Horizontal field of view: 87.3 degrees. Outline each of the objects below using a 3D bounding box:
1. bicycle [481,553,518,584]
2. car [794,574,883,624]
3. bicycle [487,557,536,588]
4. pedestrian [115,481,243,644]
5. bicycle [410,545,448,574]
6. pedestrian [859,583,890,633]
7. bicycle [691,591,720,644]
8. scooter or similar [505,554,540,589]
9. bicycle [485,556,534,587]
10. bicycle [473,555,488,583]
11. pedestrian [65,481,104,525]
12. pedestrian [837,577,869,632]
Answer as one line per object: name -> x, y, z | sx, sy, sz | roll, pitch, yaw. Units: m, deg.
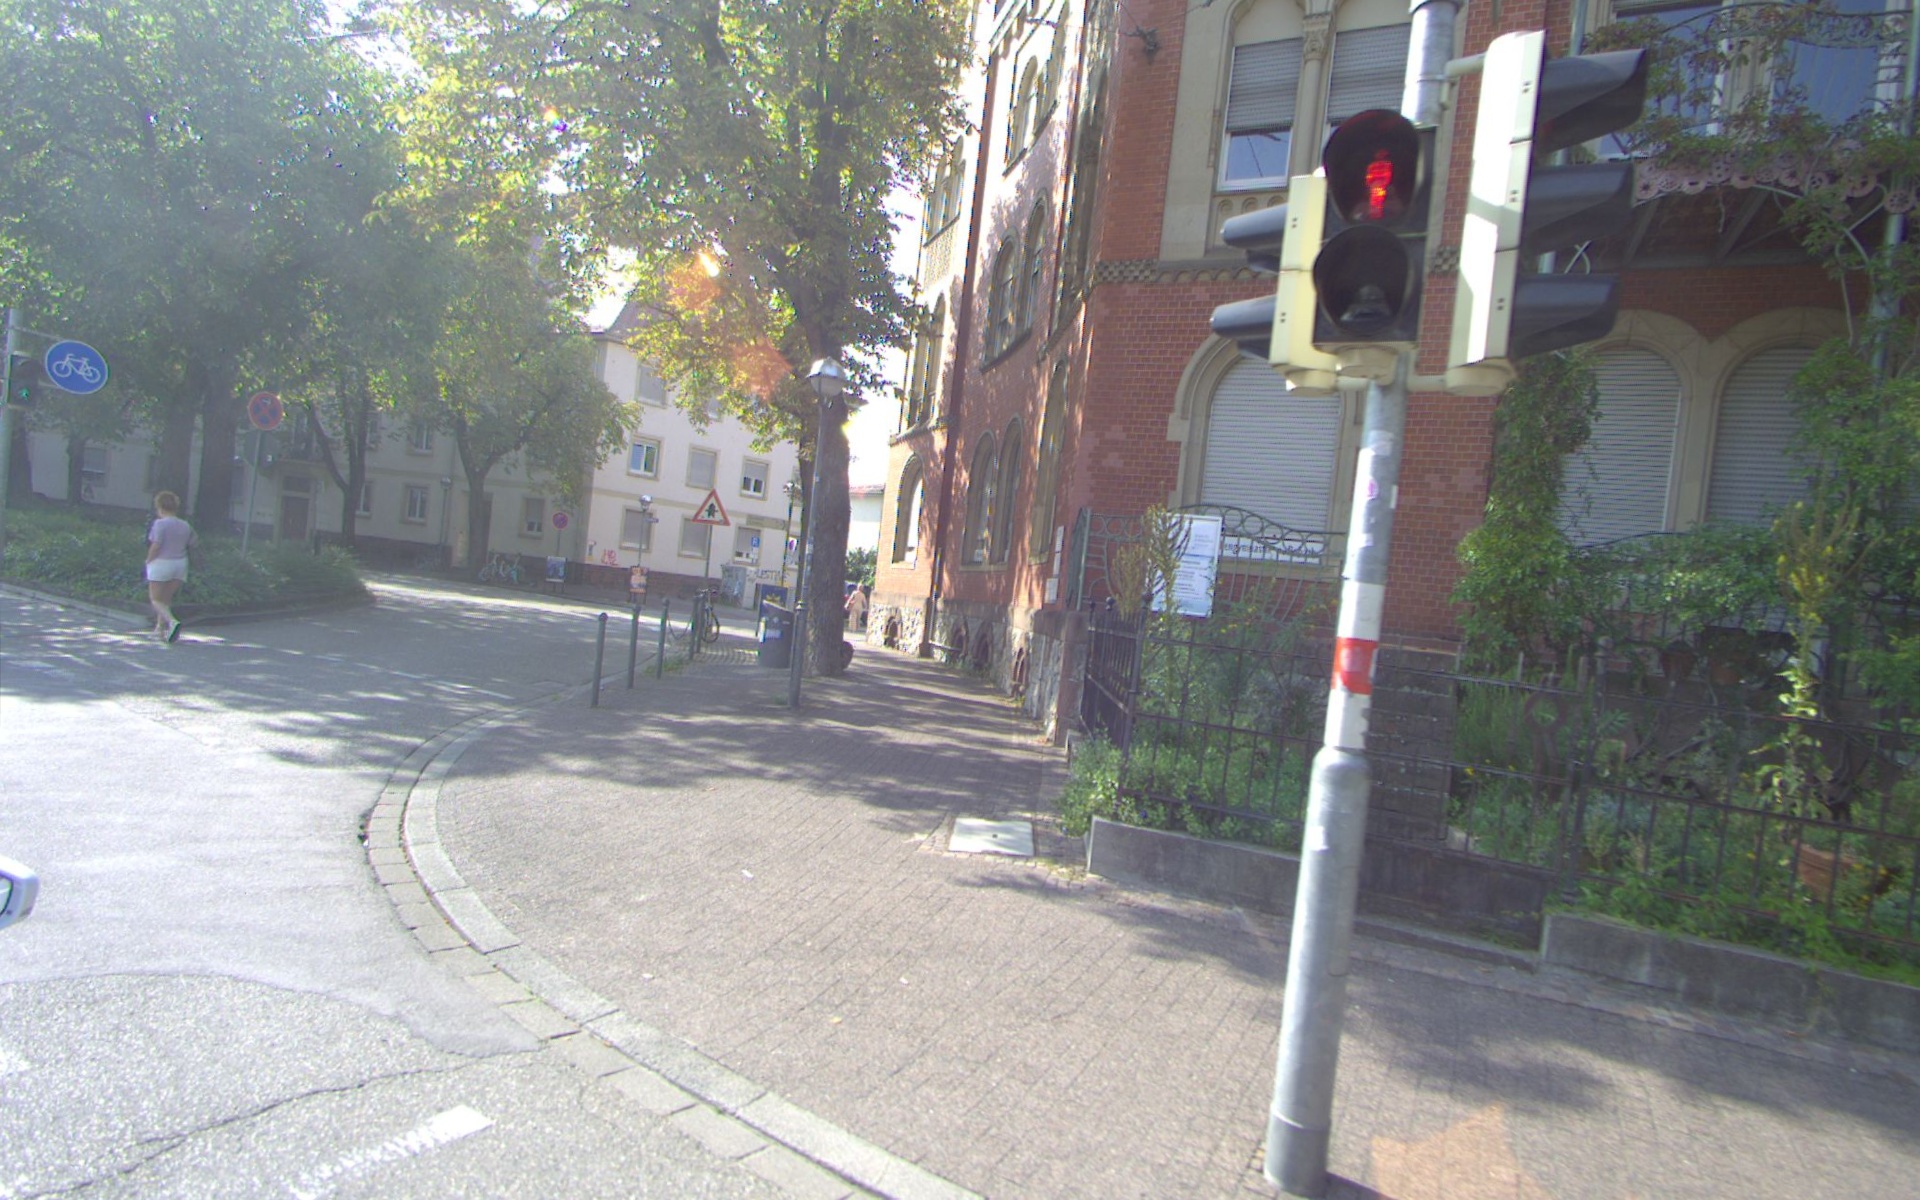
bicycle -> -17.578, -1.195, 38.456 | 0.418, 1.052, 1.556 | 7, 1, 8
car -> -5.010, -0.070, 41.004 | 1.584, 1.633, 3.955 | 6, 0, -40
bicycle -> -16.481, -1.008, 36.985 | 0.420, 0.990, 1.548 | 7, 1, 41
pedestrian -> -9.000, -0.412, 11.607 | 0.757, 1.753, 0.752 | 7, 1, 18
bicycle -> -21.511, -1.649, 40.769 | 1.527, 0.990, 0.425 | 7, 1, 24
pedestrian -> -2.825, 0.267, 33.437 | 0.761, 1.587, 0.894 | 6, 1, 1
bicycle -> -5.268, 0.339, 20.869 | 0.419, 0.990, 1.765 | 6, 1, -13
scooter or similar -> -15.999, -1.046, 36.776 | 1.060, 1.214, 0.455 | 3, 4, -32
bicycle -> -16.670, -1.042, 37.266 | 0.420, 0.990, 1.548 | 7, 1, 41
bicycle -> -17.898, -1.170, 37.573 | 0.420, 0.990, 1.546 | 6, 1, -25
pedestrian -> -38.411, -4.254, 44.148 | 0.879, 1.762, 0.774 | 6, 1, -11
pedestrian -> -3.608, 0.145, 34.016 | 0.761, 1.762, 0.894 | 6, 1, 3
